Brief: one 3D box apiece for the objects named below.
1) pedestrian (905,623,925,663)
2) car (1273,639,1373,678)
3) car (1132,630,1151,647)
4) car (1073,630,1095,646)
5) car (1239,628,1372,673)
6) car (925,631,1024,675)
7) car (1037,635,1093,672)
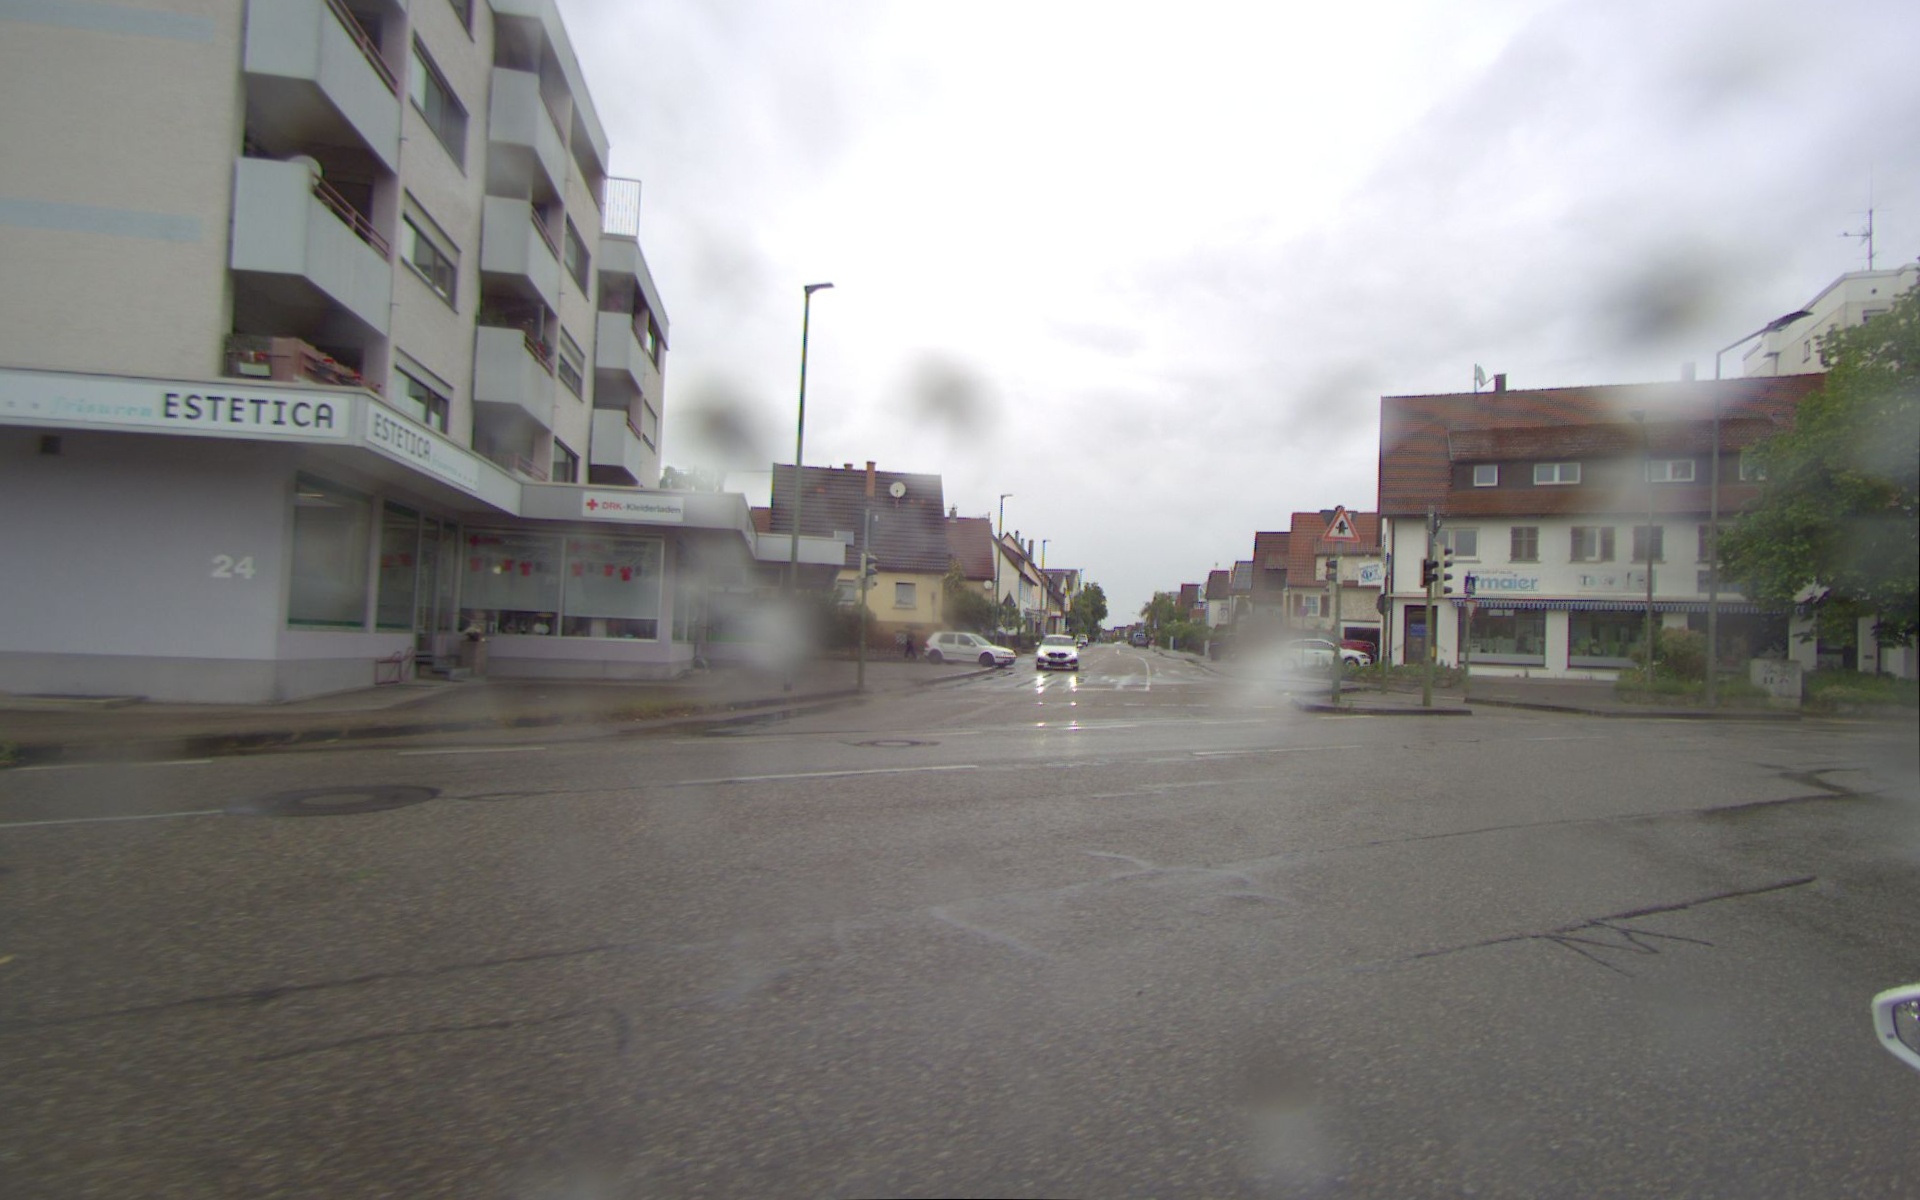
[{"bbox_3d":[-2.174,2.065,48.195,0.834,1.882,0.724,2,-1,-9],"label":"pedestrian"},{"bbox_3d":[15.934,2.541,44.066,3.925,1.546,1.998,1,-2,26],"label":"car"},{"bbox_3d":[22.842,4.878,126.278,1.960,2.040,4.003,1,-2,15],"label":"car"},{"bbox_3d":[16.072,4.885,129.787,1.961,2.040,4.001,1,-2,20],"label":"car"},{"bbox_3d":[16.111,2.339,46.968,5.737,1.866,2.000,1,-2,20],"label":"car"},{"bbox_3d":[0.628,2.260,43.378,3.845,1.755,1.833,1,-2,26],"label":"car"},{"bbox_3d":[4.573,2.282,43.175,1.797,1.453,4.291,1,-2,13],"label":"car"}]
